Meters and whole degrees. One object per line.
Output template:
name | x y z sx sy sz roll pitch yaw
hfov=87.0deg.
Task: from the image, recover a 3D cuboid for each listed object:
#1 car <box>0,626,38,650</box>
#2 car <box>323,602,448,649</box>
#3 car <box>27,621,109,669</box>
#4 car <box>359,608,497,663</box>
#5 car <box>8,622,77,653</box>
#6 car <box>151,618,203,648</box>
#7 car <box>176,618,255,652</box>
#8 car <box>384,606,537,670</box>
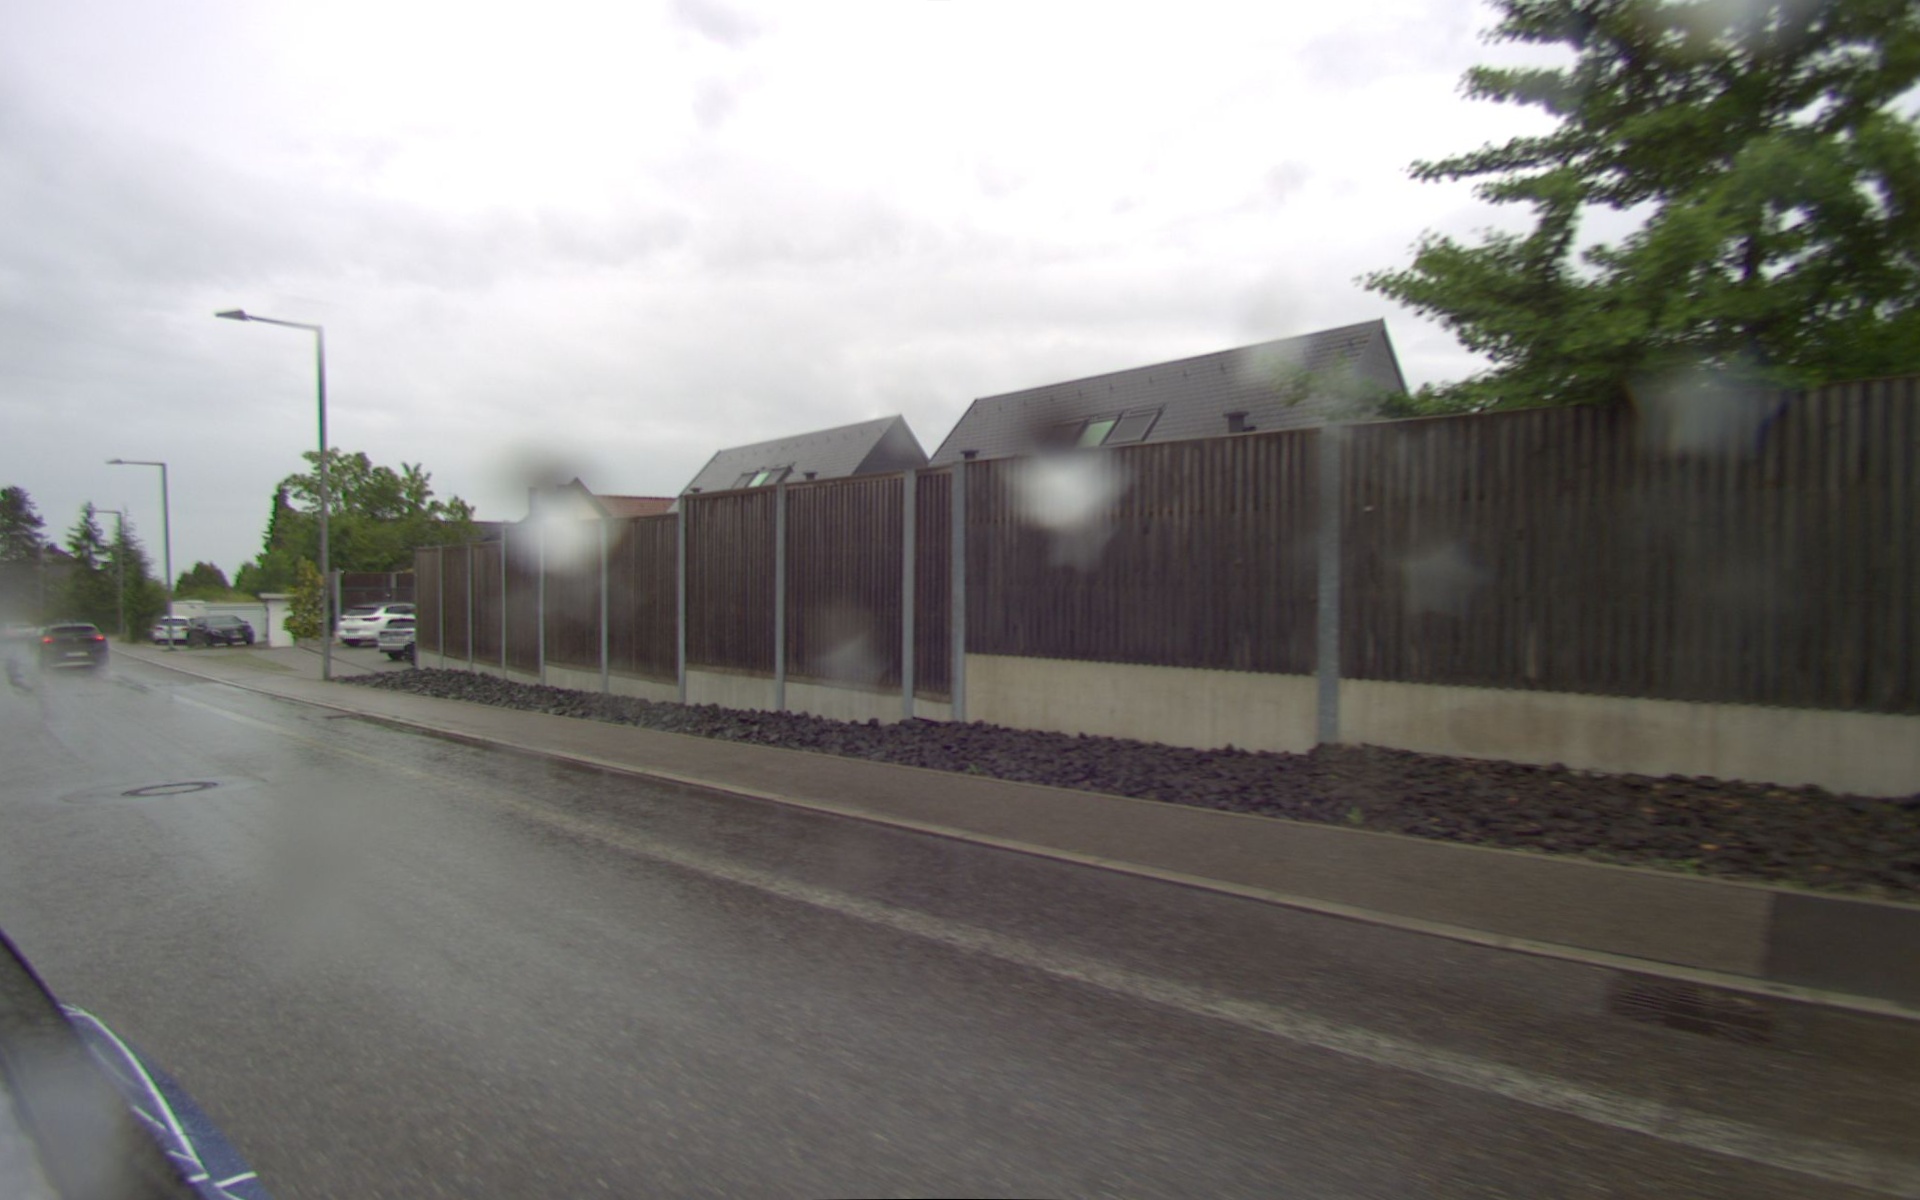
car | -64.052 2.552 68.409 4.261 1.471 1.830 -2 1 37
car | -22.070 0.936 39.055 1.924 1.586 4.041 -2 1 14
car | -29.990 1.468 33.979 1.859 1.460 4.212 -1 0 -44
car | -17.343 1.111 33.267 1.740 1.453 4.524 -2 1 7
car | -42.540 1.706 46.888 4.207 1.293 1.862 -1 0 41
car | -44.563 1.848 57.664 1.681 1.565 4.402 -2 1 -29
car | -34.481 1.594 46.830 4.253 1.416 1.817 -2 1 38
car | -14.767 1.071 30.222 1.819 1.612 4.278 -2 1 12
